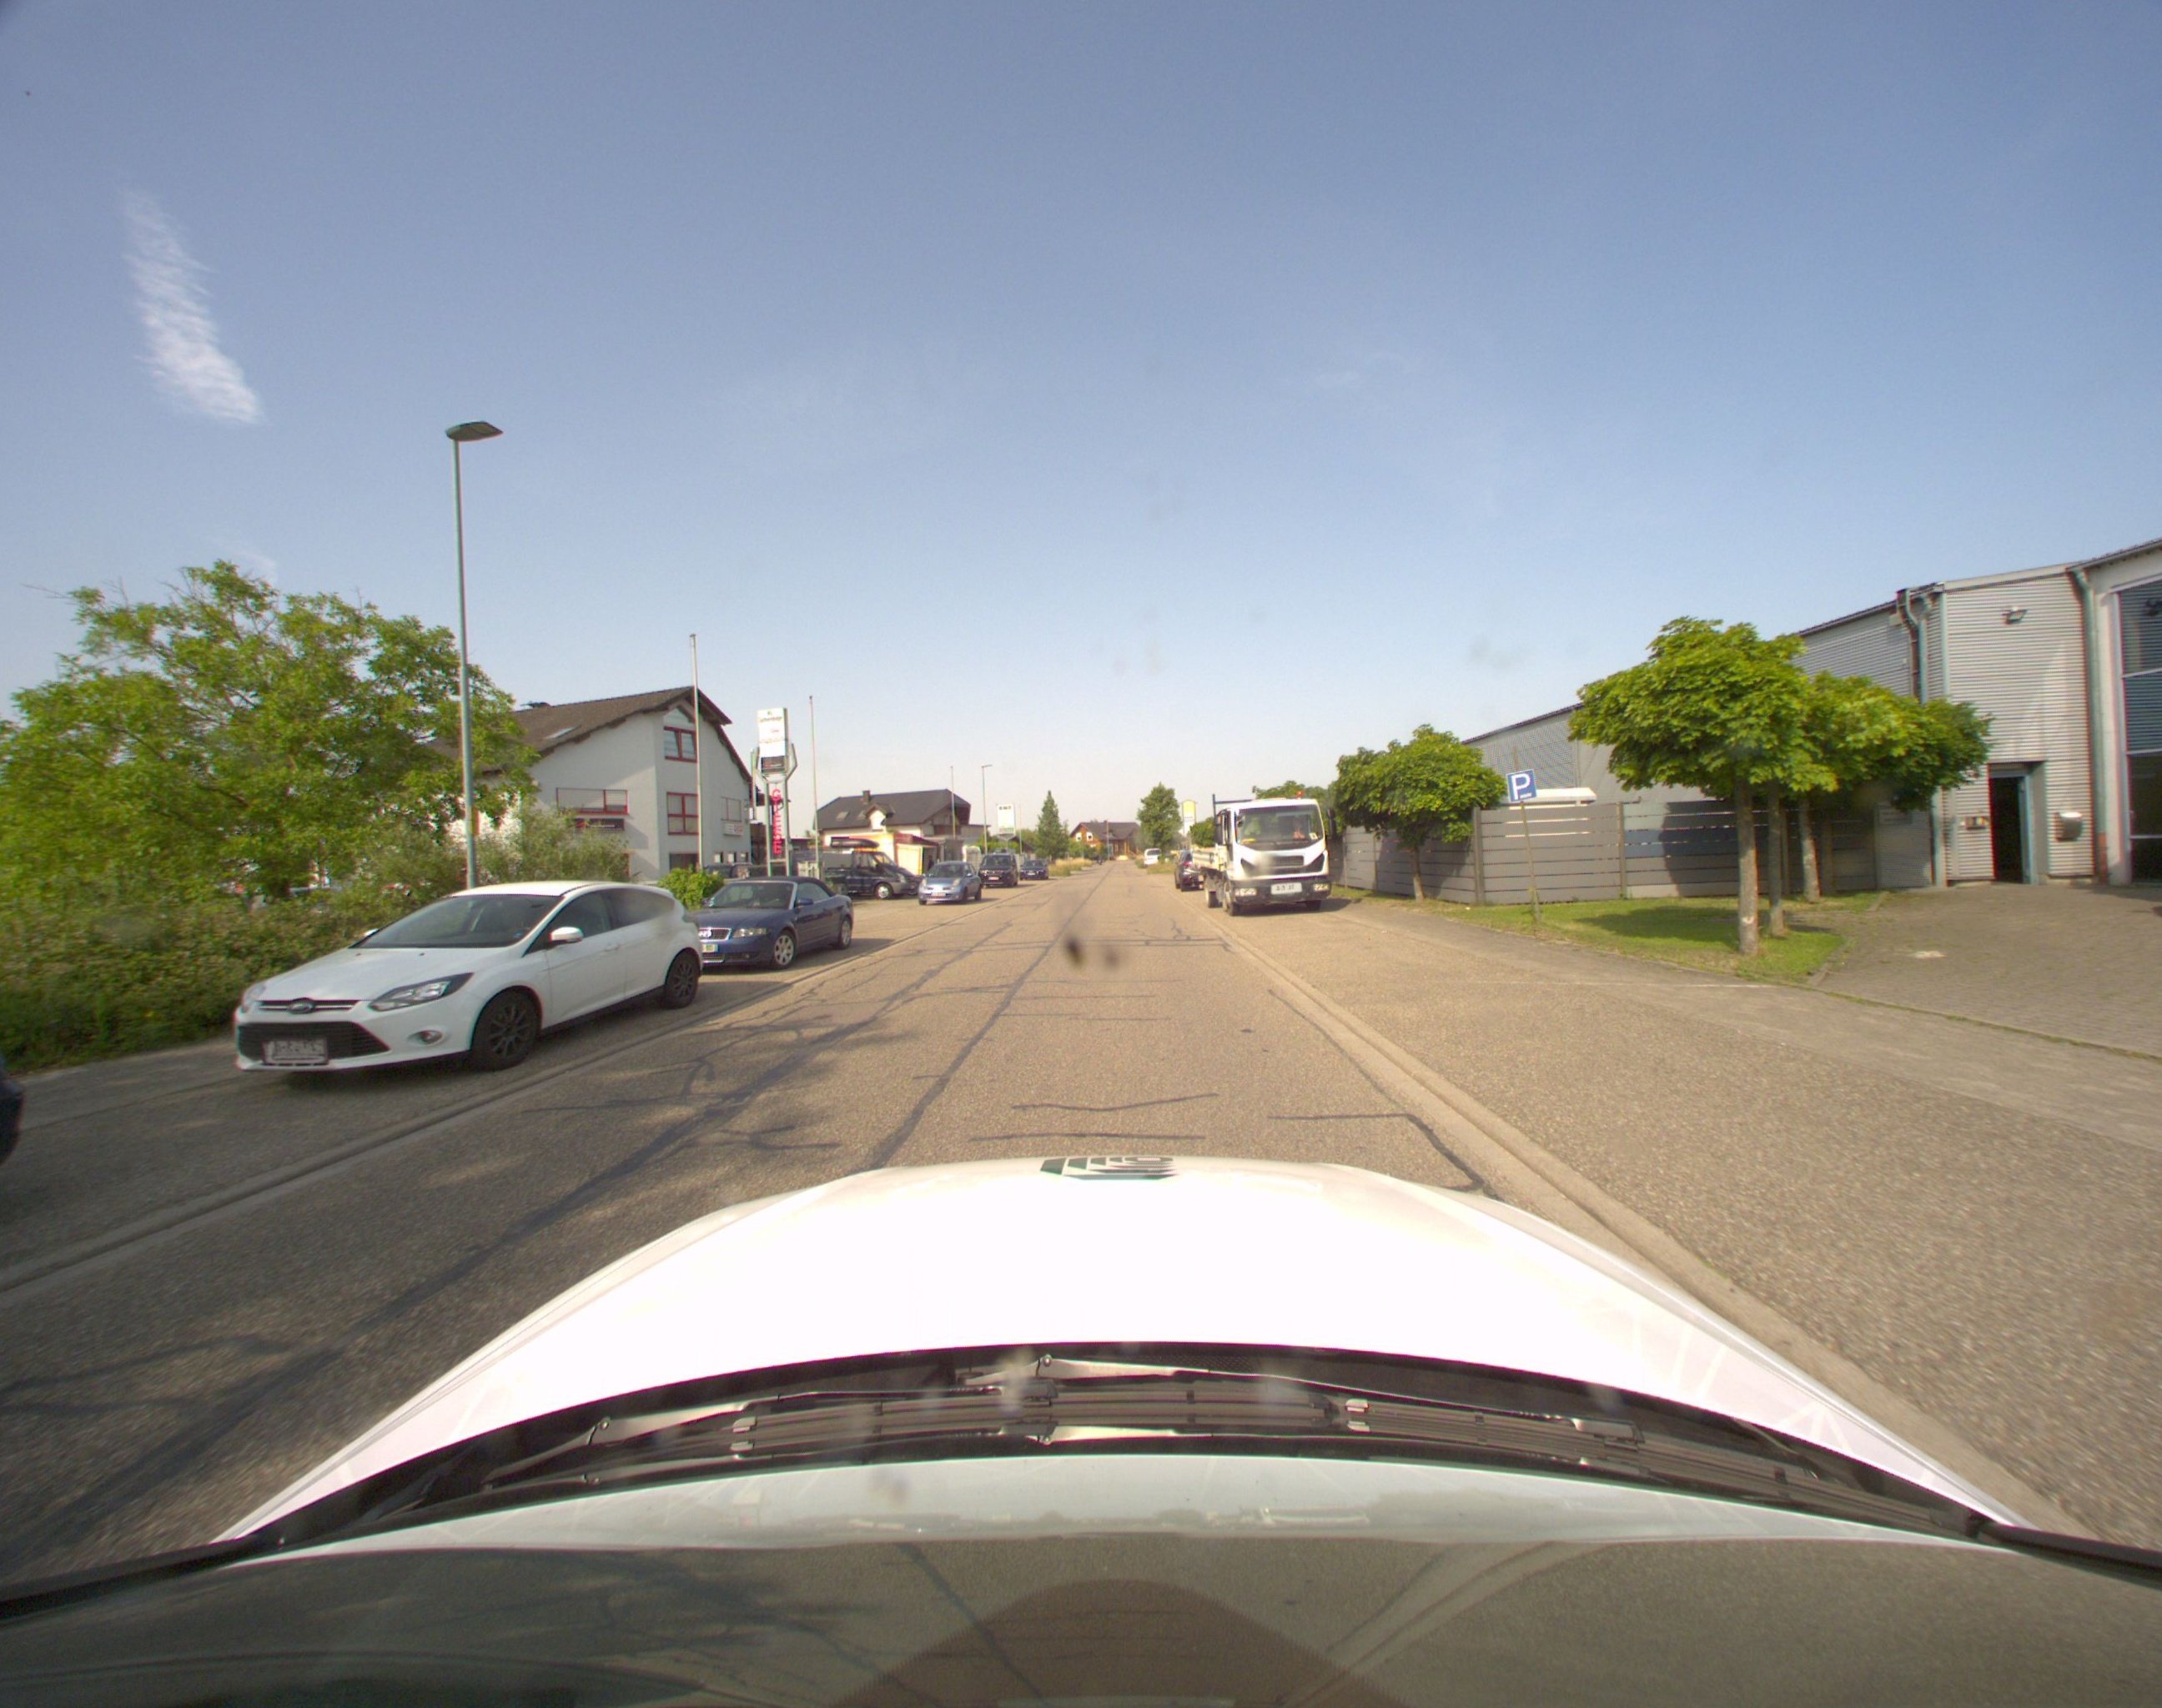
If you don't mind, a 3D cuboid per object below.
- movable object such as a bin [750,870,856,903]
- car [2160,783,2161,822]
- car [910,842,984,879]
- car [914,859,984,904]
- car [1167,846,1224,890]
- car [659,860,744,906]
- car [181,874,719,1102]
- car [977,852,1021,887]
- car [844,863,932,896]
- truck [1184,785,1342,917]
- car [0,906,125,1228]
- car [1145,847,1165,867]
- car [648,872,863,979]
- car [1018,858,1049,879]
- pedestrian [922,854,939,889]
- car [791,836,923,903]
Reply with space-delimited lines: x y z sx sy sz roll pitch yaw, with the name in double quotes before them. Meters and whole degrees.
"movable object such as a bin" -10.499 1.212 30.858 3.301 1.147 1.767 -1 0 11
"car" 13.527 -0.108 8.889 4.559 1.589 1.667 -3 0 -42
"car" -10.695 0.518 65.001 5.111 2.586 2.591 -3 0 23
"car" -4.737 0.950 29.736 1.625 1.517 3.611 -1 0 5
"car" 4.513 0.523 32.539 1.787 1.560 4.002 -2 1 2
"car" -15.304 1.140 33.004 1.539 1.662 3.479 -3 0 4
"car" -5.365 0.990 7.816 1.676 1.469 4.257 -1 0 3
"car" -4.372 0.779 43.942 1.793 1.774 4.205 -1 0 2
"car" -8.826 1.158 37.412 3.577 1.414 1.761 -1 0 -1
"truck" 4.283 -0.070 20.594 2.352 2.681 6.508 -3 0 -1
"car" -5.784 1.004 2.235 1.573 1.443 3.964 -1 0 1
"car" 7.456 0.282 82.633 1.830 1.924 3.759 -3 0 3
"car" -5.147 1.048 13.584 1.626 1.387 4.372 -1 0 3
"car" -3.262 0.960 56.451 1.793 1.386 3.640 -1 0 2
"pedestrian" -7.567 0.895 40.881 0.566 1.715 0.528 -3 0 -35
"car" -9.056 0.600 33.145 4.605 2.416 2.003 -3 0 4
